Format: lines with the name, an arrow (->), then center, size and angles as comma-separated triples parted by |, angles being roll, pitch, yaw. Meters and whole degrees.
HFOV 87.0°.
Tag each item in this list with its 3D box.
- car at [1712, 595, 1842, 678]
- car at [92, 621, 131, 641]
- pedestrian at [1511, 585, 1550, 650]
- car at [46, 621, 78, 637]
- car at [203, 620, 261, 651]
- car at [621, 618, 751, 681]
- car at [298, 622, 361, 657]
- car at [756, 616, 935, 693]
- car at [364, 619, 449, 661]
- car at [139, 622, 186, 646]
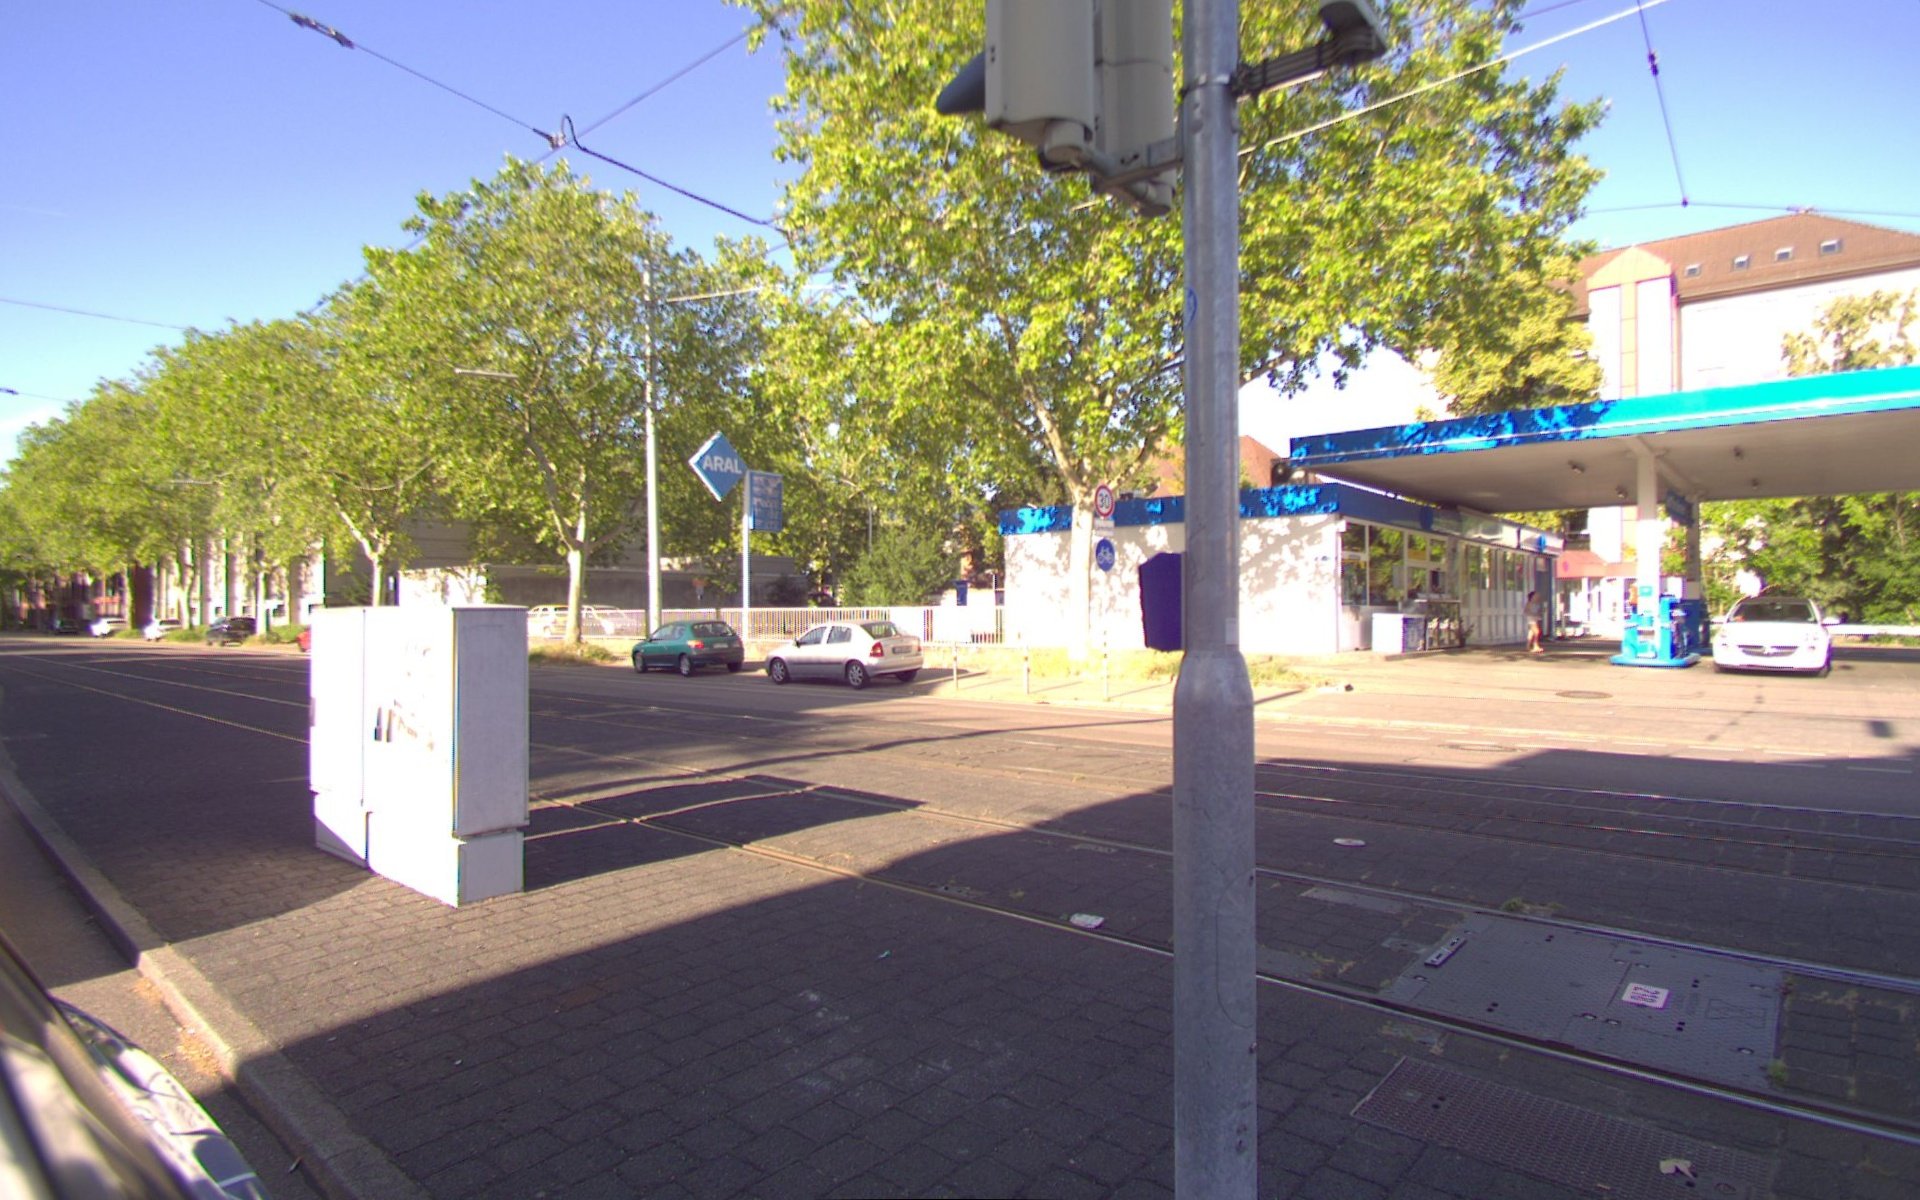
car -> 16.030, 0.674, 19.906 | 1.812, 1.453, 3.947 | -1, -1, 39
car -> -66.681, 2.397, 79.528 | 3.998, 1.525, 1.779 | -1, -1, 41
pedestrian -> 15.077, 0.464, 26.768 | 0.761, 1.705, 0.578 | -2, -2, 44
car -> -85.321, 2.726, 96.116 | 3.998, 1.525, 1.779 | -1, -1, 41
car -> -40.751, 1.950, 56.589 | 3.998, 1.674, 1.779 | -1, -1, 41
car -> -7.325, 1.275, 26.930 | 3.519, 1.475, 1.670 | -1, 2, 43
car -> -28.552, 1.748, 45.798 | 3.045, 1.519, 1.620 | -1, -1, 41
car -> -2.627, 1.157, 22.661 | 3.965, 1.475, 1.771 | -1, 2, 43
car -> -21.938, 1.548, 40.050 | 3.652, 1.541, 1.802 | -1, -1, 41
car -> -53.717, 2.262, 68.162 | 3.998, 1.509, 1.779 | -1, -1, 41
